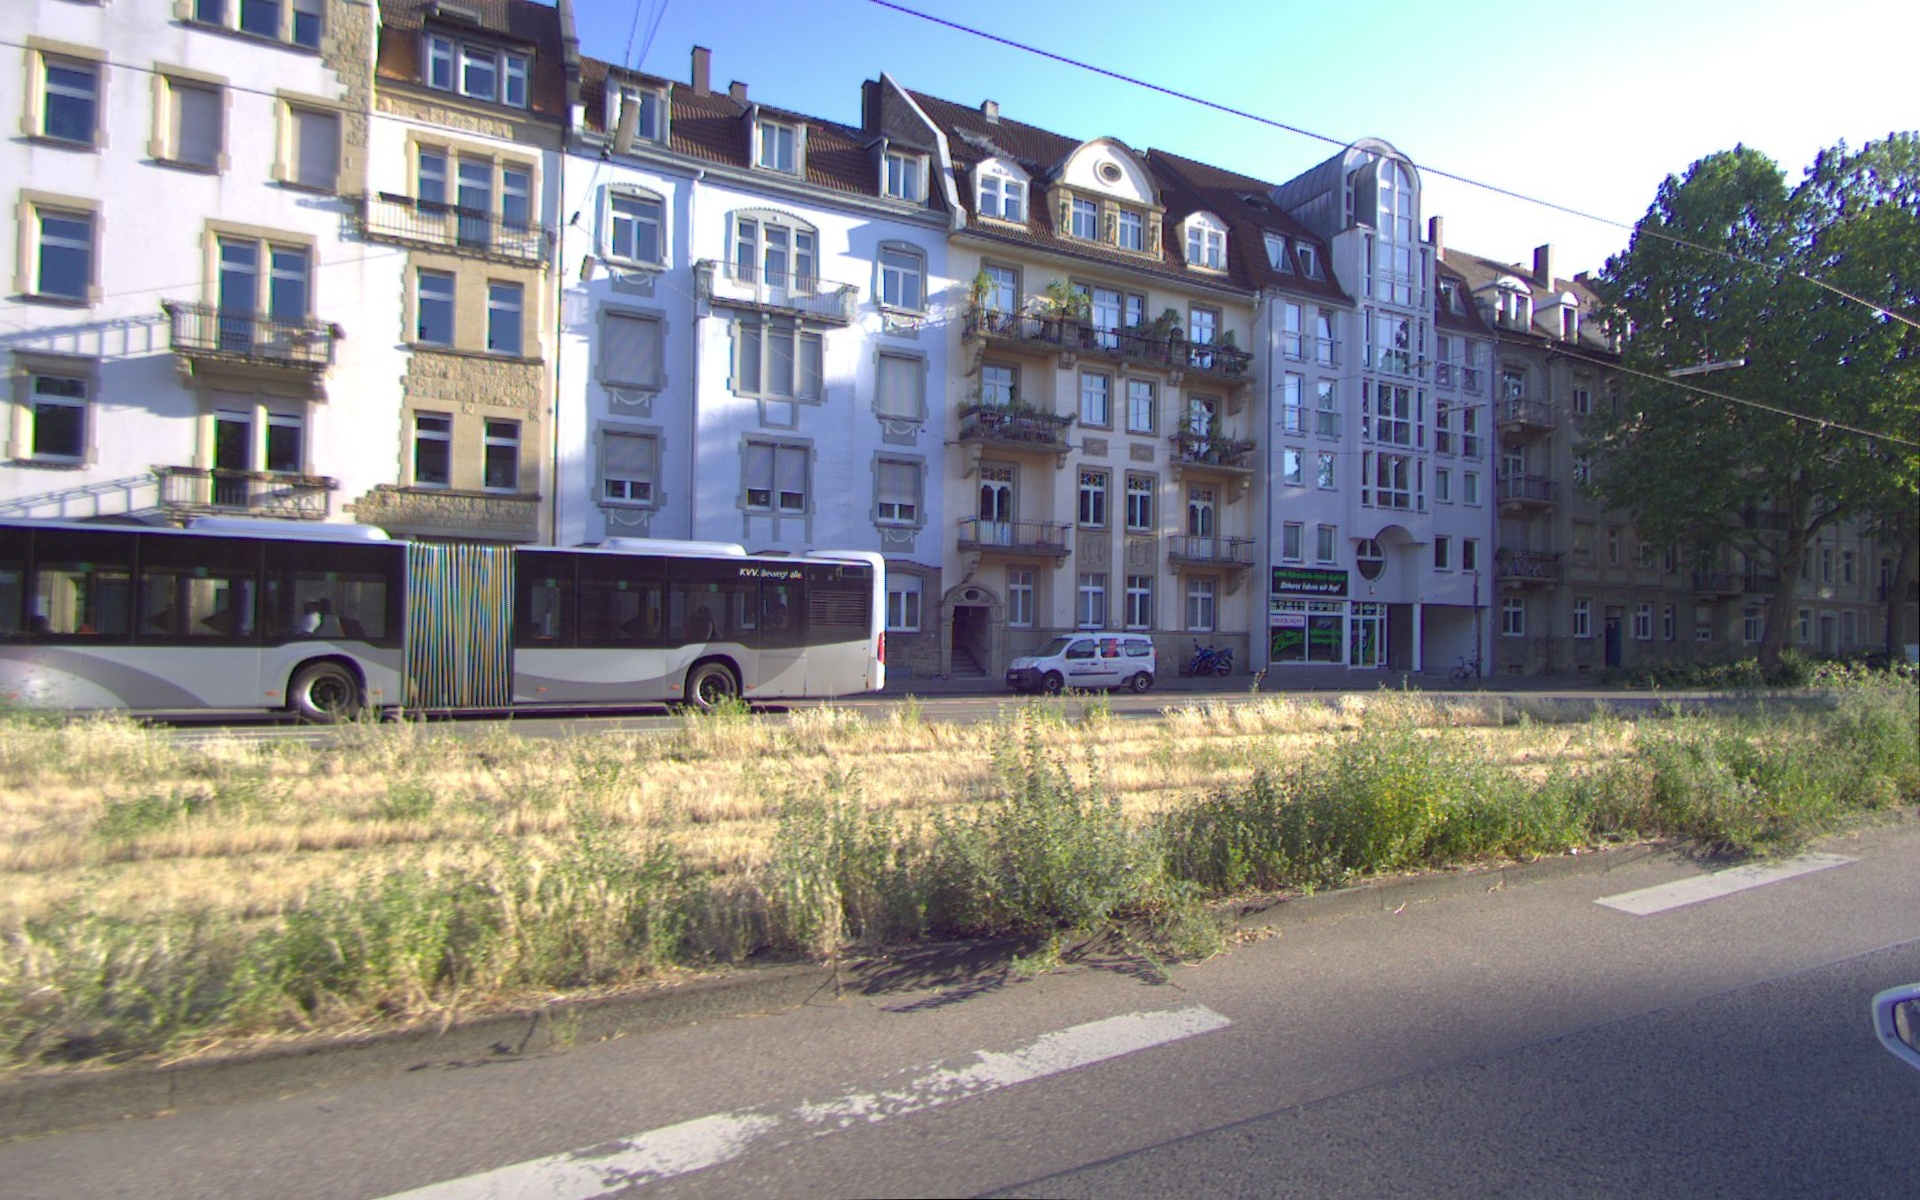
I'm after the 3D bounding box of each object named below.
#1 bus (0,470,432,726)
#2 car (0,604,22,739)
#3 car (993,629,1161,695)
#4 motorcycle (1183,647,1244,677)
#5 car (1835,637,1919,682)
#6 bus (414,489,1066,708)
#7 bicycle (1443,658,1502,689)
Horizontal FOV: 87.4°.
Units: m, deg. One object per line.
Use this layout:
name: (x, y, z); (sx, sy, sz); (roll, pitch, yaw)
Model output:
bus: (-13.496, 0.013, 14.895); (9.770, 3.418, 3.255); (3, -3, -26)
car: (-13.752, 0.808, 11.458); (3.944, 1.706, 1.925); (3, -3, -24)
car: (3.465, 1.820, 29.522); (4.591, 1.810, 1.899); (3, -3, -25)
motorcycle: (9.243, 2.272, 36.619); (2.389, 1.035, 0.526); (2, 1, -28)
car: (46.462, 2.922, 49.154); (5.144, 2.093, 1.721); (0, -2, 22)
bus: (-3.816, 0.279, 19.704); (11.821, 3.418, 3.244); (3, -3, -26)
bicycle: (19.321, 2.770, 37.866); (1.862, 1.047, 0.757); (2, 3, -13)
